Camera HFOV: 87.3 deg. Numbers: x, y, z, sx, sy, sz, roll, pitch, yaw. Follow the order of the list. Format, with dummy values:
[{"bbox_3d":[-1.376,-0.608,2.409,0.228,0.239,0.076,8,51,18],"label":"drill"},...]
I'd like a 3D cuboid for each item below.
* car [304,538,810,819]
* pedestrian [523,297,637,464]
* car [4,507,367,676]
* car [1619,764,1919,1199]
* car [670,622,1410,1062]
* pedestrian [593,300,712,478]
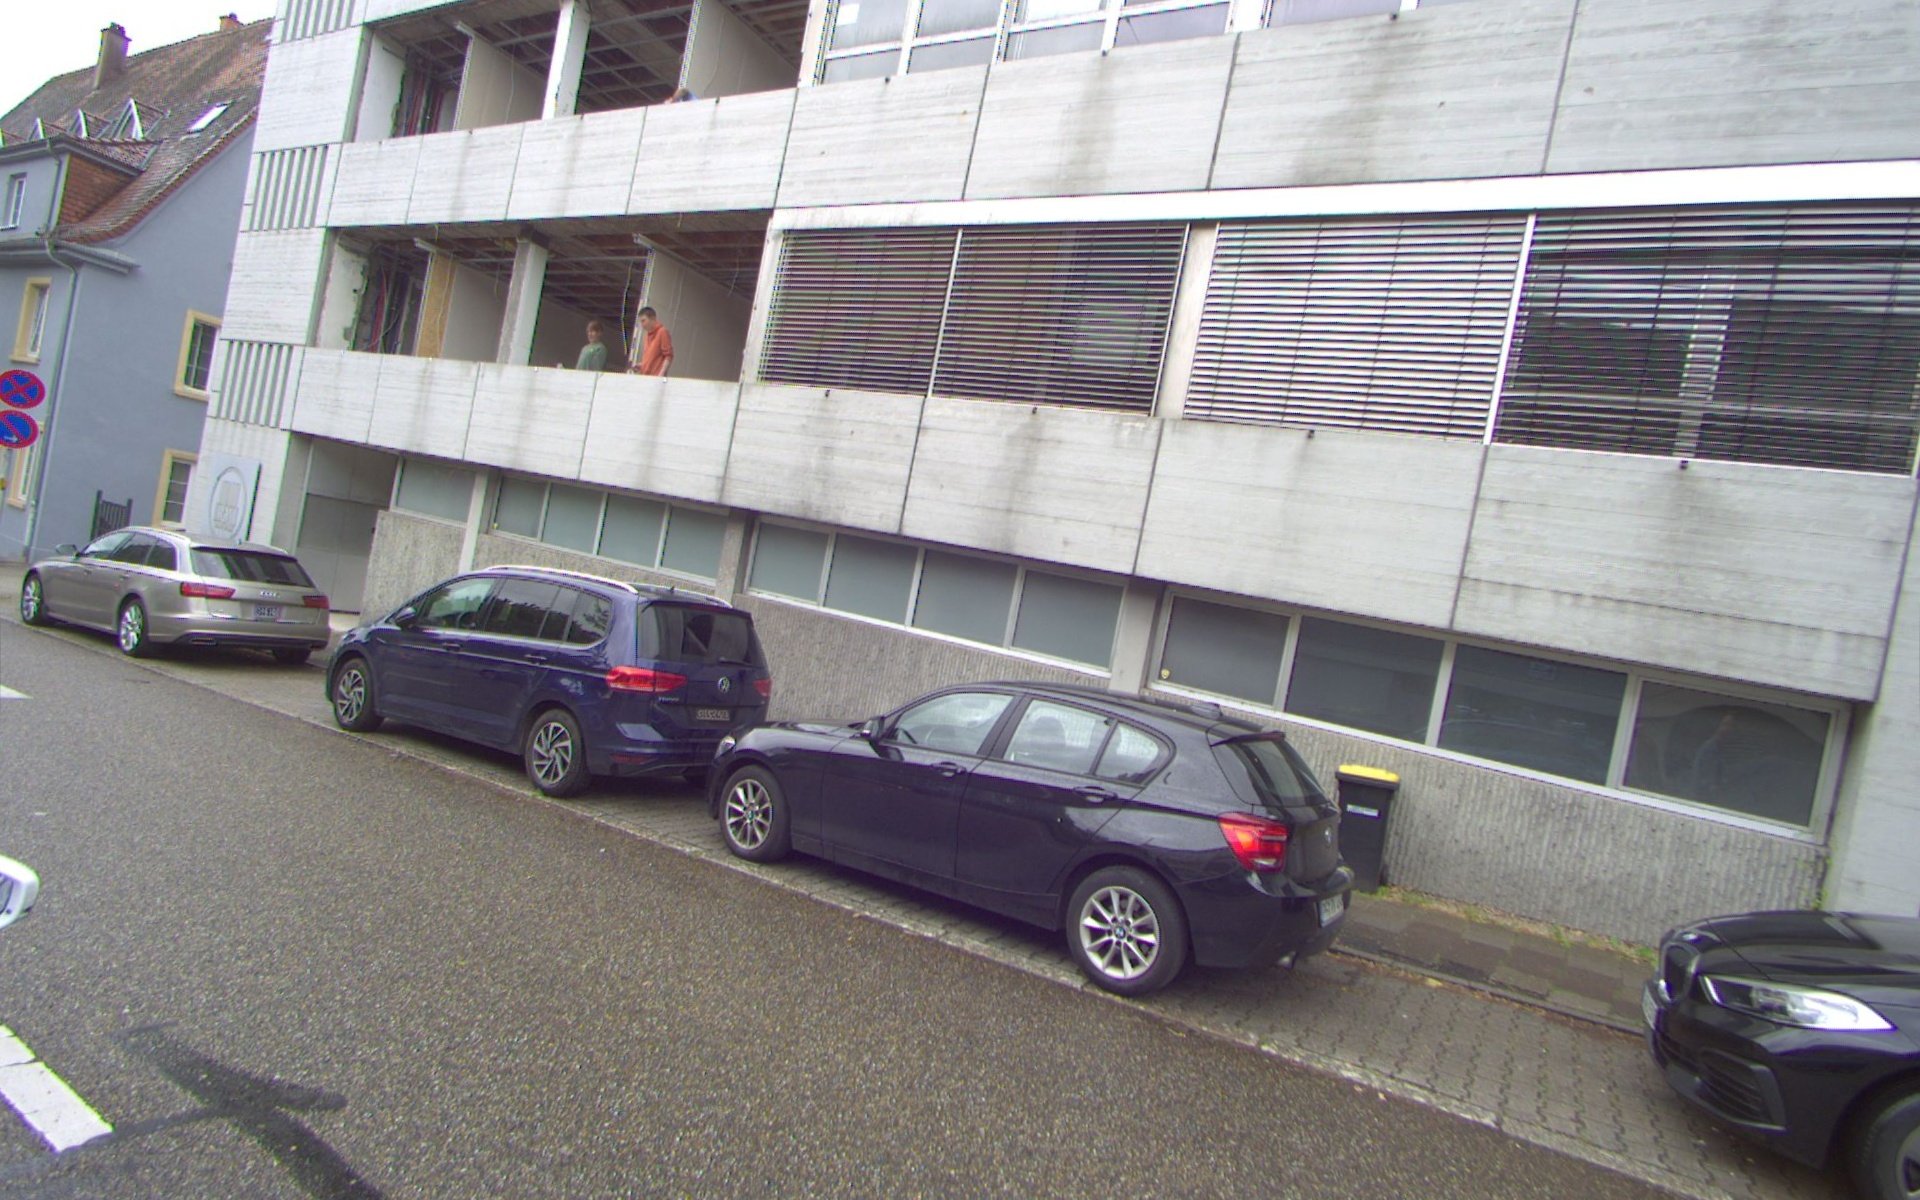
[{"bbox_3d":[-3.529,0.553,8.647,4.090,1.618,1.732,7,-1,30],"label":"car"},{"bbox_3d":[-5.259,-3.010,13.961,0.847,2.036,0.909,6,-2,31],"label":"pedestrian"},{"bbox_3d":[-9.804,-0.128,12.671,4.449,1.465,1.967,7,-1,30],"label":"car"},{"bbox_3d":[5.086,1.780,3.530,4.367,1.453,1.997,7,0,30],"label":"car"},{"bbox_3d":[0.335,1.170,6.307,4.183,1.465,1.750,7,-1,34],"label":"car"},{"bbox_3d":[-3.985,-2.700,13.083,0.847,2.036,0.909,6,-2,31],"label":"pedestrian"}]
